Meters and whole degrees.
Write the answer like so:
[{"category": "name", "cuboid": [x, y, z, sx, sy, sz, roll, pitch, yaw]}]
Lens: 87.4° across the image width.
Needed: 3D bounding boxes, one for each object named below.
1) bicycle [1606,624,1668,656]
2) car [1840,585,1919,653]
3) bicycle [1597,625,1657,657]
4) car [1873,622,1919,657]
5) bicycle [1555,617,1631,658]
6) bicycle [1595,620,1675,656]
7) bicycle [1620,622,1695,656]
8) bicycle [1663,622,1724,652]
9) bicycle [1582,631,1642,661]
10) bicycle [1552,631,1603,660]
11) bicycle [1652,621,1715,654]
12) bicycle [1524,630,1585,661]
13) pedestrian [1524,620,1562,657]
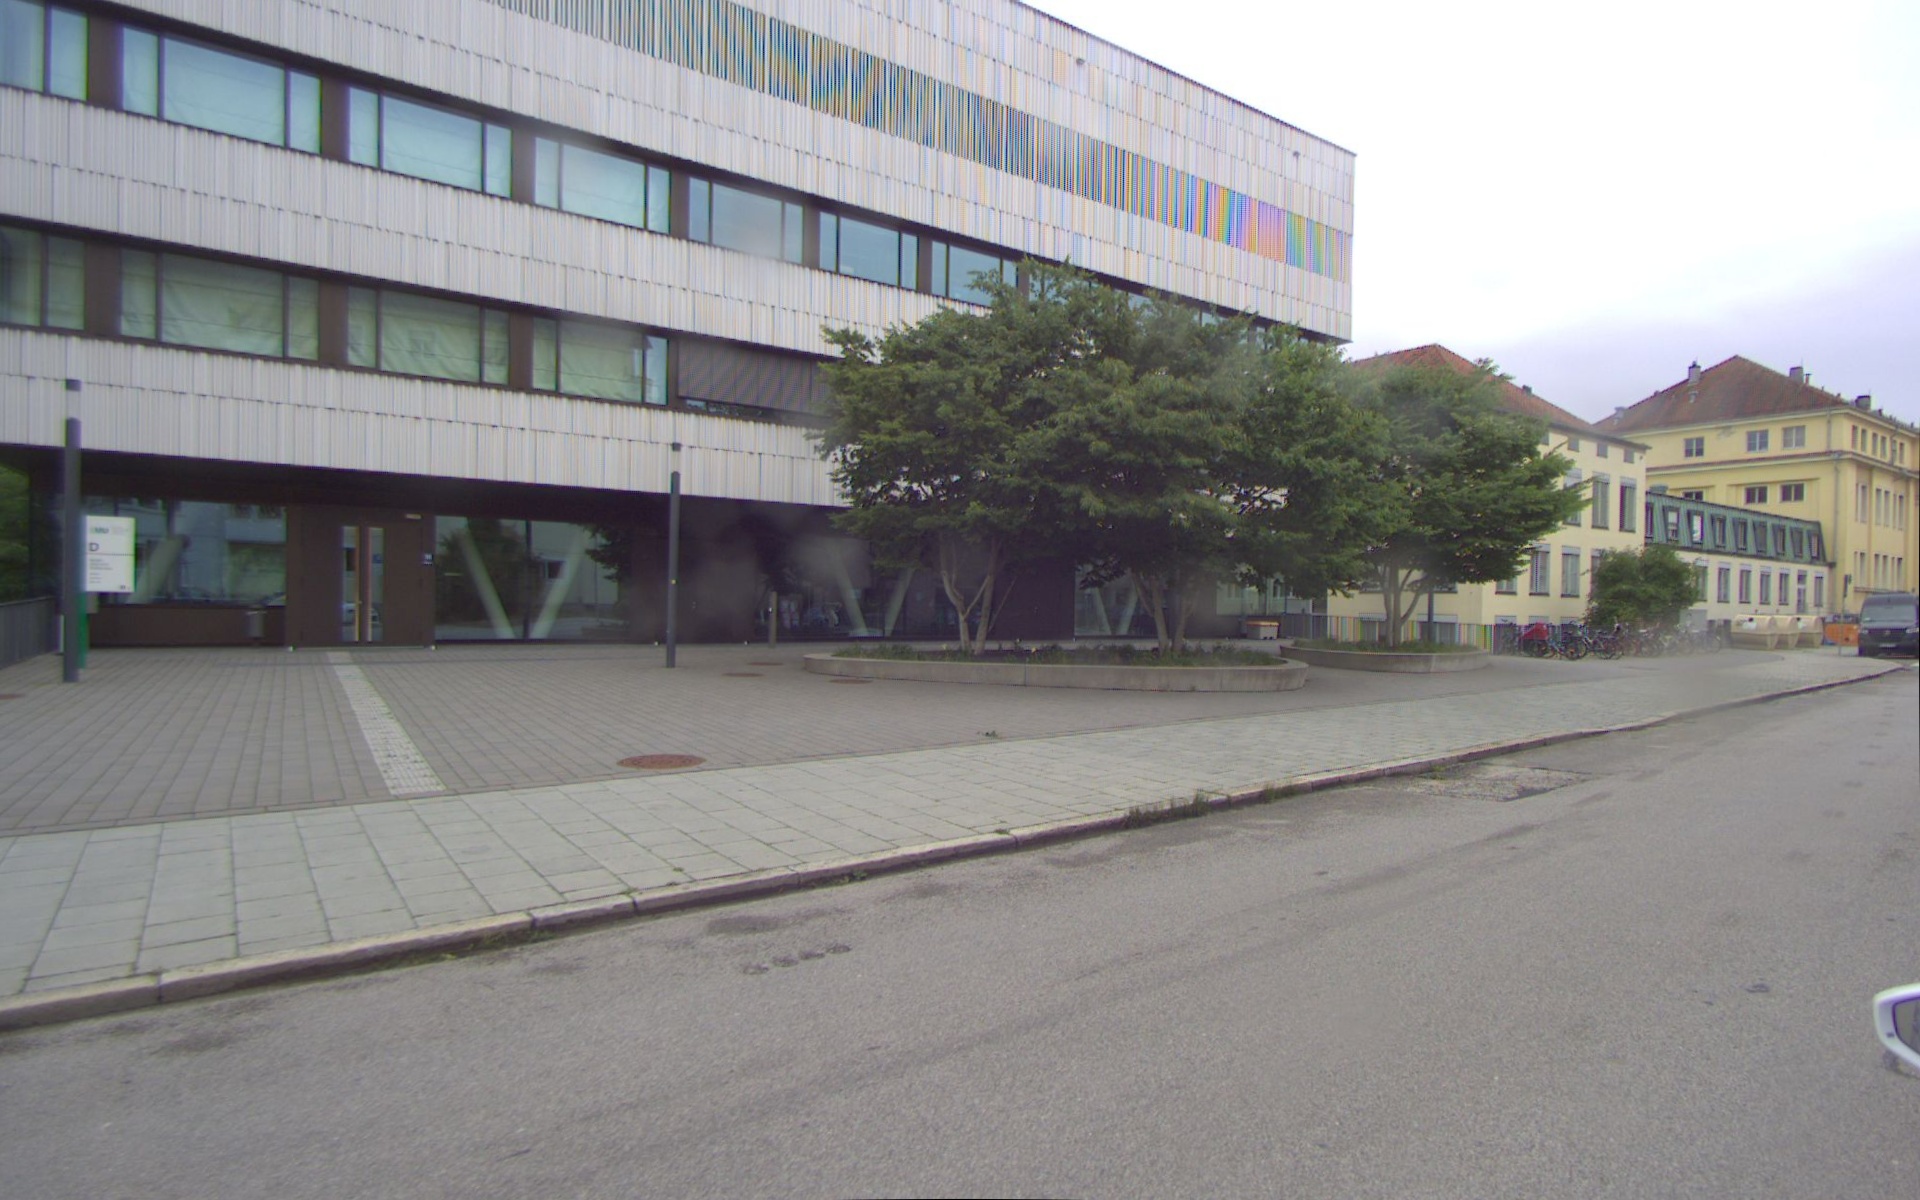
[{"category": "bicycle", "cuboid": [25.376, 1.483, 37.707, 0.533, 1.043, 1.857, 0, 2, -30]}, {"category": "car", "cuboid": [39.818, 0.849, 43.164, 5.910, 2.751, 2.399, 2, -2, -43]}, {"category": "bicycle", "cuboid": [24.377, 1.477, 36.736, 0.501, 1.047, 1.782, 0, 2, -30]}, {"category": "car", "cuboid": [45.713, 1.891, 48.622, 3.709, 1.473, 1.685, 0, 3, -39]}, {"category": "bicycle", "cuboid": [21.931, 1.272, 34.856, 0.778, 1.244, 2.094, 0, 2, -30]}, {"category": "bicycle", "cuboid": [24.950, 1.374, 37.199, 0.419, 1.222, 2.541, 0, 0, -30]}, {"category": "bicycle", "cuboid": [26.616, 1.466, 38.388, 0.575, 1.150, 2.298, 0, 2, -30]}, {"category": "bicycle", "cuboid": [29.969, 1.492, 41.060, 0.669, 1.107, 1.895, 0, 2, -30]}, {"category": "bicycle", "cuboid": [23.168, 1.624, 35.728, 0.588, 0.929, 1.666, 0, 2, -30]}, {"category": "bicycle", "cuboid": [20.640, 1.505, 33.574, 0.434, 0.874, 1.363, 0, 2, -34]}, {"category": "bicycle", "cuboid": [28.743, 1.469, 39.952, 0.566, 1.147, 1.947, 0, 2, -30]}, {"category": "bicycle", "cuboid": [19.621, 1.503, 33.185, 0.434, 0.874, 1.708, 0, 2, -34]}, {"category": "pedestrian", "cuboid": [19.858, 1.301, 34.216, 1.030, 1.178, 0.713, 0, 3, -36]}]
